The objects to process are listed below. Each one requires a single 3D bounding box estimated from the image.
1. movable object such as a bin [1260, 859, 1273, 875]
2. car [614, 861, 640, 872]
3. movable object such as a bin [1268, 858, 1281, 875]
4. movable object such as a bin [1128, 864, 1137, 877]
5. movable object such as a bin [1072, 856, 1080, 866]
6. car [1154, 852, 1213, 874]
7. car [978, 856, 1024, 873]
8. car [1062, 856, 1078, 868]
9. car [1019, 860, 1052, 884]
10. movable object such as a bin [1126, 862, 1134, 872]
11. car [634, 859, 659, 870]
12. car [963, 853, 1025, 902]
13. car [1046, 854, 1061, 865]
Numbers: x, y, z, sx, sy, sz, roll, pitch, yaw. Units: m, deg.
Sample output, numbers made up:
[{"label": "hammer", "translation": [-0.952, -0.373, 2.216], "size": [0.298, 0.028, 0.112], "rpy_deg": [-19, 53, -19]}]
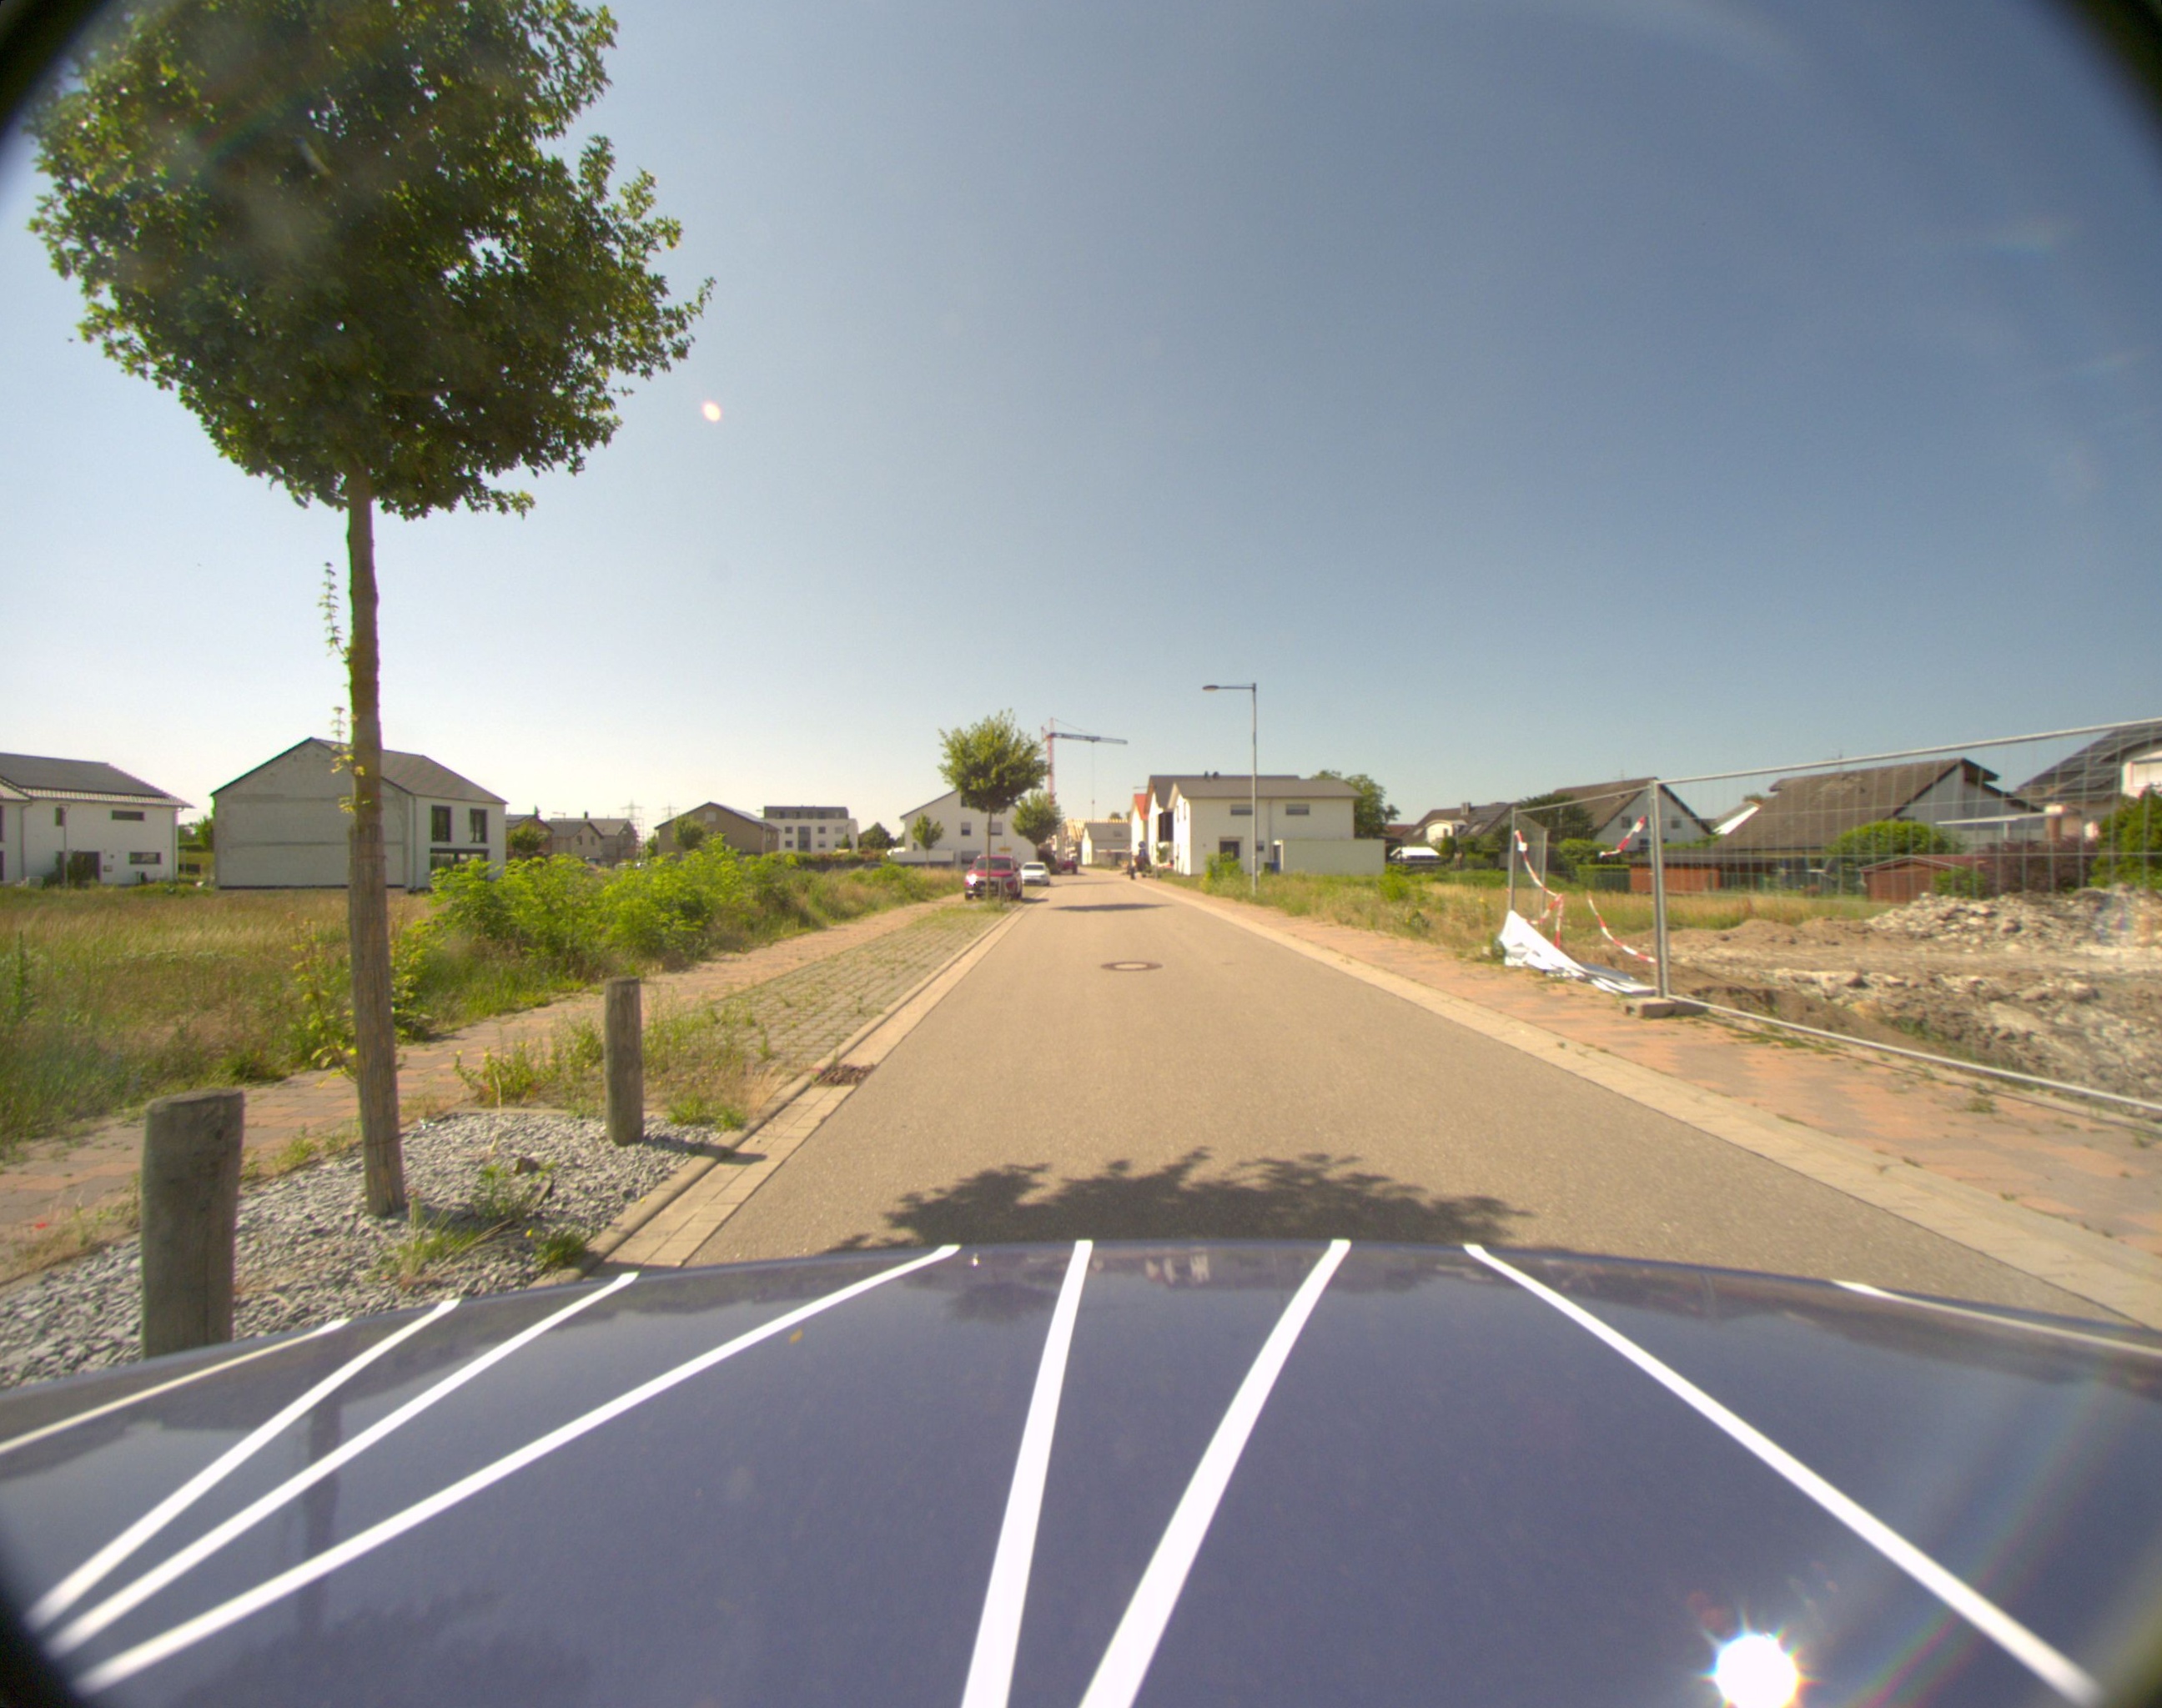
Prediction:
[{"label": "movable object such as a bin", "translation": [12.671, 0.860, 51.997], "size": [0.661, 1.092, 0.785], "rpy_deg": [0, 0, -1]}, {"label": "car", "translation": [-60.611, 1.648, 101.468], "size": [1.668, 1.392, 3.917], "rpy_deg": [0, 0, -9]}, {"label": "movable object such as a bin", "translation": [13.298, 0.852, 52.125], "size": [0.671, 1.092, 0.808], "rpy_deg": [0, 0, 1]}, {"label": "movable object such as a bin", "translation": [3.850, 1.243, 56.783], "size": [0.625, 0.943, 0.500], "rpy_deg": [-1, 1, -5]}, {"label": "movable object such as a bin", "translation": [-0.526, 0.753, 83.260], "size": [0.824, 1.058, 0.589], "rpy_deg": [-1, 1, -5]}, {"label": "car", "translation": [8.703, 0.729, 64.980], "size": [4.749, 1.864, 1.938], "rpy_deg": [0, 0, -3]}, {"label": "car", "translation": [-7.724, 1.041, 73.766], "size": [4.348, 1.549, 1.960], "rpy_deg": [-1, -1, -2]}, {"label": "car", "translation": [-1.465, 1.026, 101.388], "size": [1.912, 1.470, 3.998], "rpy_deg": [-1, 1, -4]}, {"label": "car", "translation": [-2.826, 1.121, 47.853], "size": [1.780, 1.411, 4.166], "rpy_deg": [1, 0, 1]}, {"label": "movable object such as a bin", "translation": [4.760, 1.271, 73.640], "size": [0.618, 0.931, 0.564], "rpy_deg": [-1, 0, -5]}, {"label": "car", "translation": [-61.540, 1.432, 107.783], "size": [1.750, 1.493, 3.997], "rpy_deg": [0, 0, -9]}, {"label": "car", "translation": [-3.104, 0.819, 27.881], "size": [1.781, 1.653, 4.434], "rpy_deg": [1, 0, -1]}, {"label": "car", "translation": [-4.347, 0.874, 120.832], "size": [1.804, 1.609, 3.672], "rpy_deg": [-1, 1, -10]}]
